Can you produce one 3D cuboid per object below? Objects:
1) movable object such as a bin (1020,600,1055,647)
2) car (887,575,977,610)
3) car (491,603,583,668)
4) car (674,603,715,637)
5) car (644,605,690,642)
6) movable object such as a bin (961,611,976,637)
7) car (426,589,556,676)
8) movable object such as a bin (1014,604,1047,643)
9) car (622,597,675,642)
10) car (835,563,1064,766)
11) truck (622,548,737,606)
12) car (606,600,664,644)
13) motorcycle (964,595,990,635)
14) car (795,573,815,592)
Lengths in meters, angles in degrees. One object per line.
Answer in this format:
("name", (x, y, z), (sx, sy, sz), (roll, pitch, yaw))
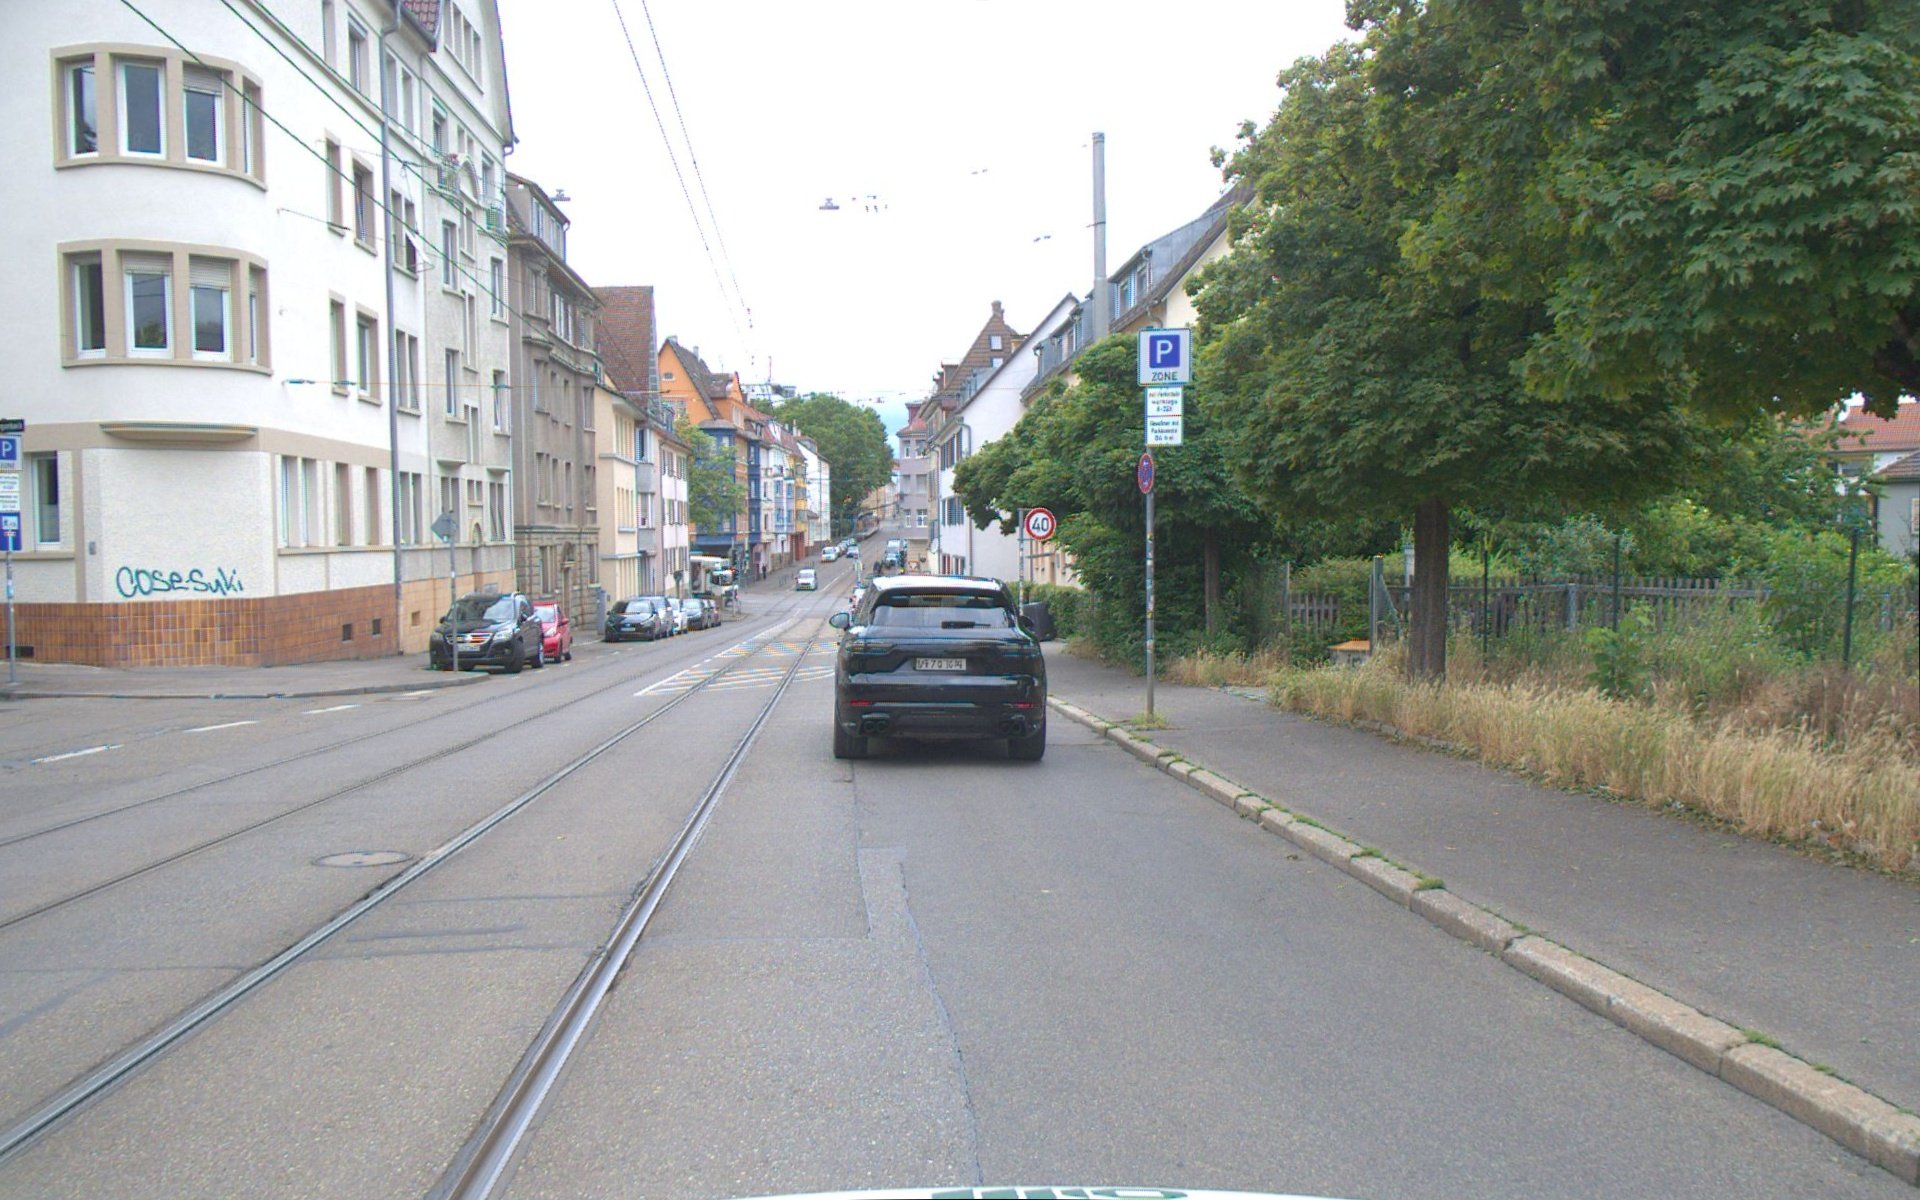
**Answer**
("movable object such as a bin", (2.088, 0.633, 44.620), (0.777, 1.239, 0.788), (-1, -1, -8))
("car", (-2.027, -0.524, 119.491), (6.155, 2.330, 2.200), (-1, 0, 25))
("car", (-10.457, 0.868, 41.070), (1.589, 1.489, 3.741), (-2, -1, -5))
("car", (-12.601, 0.955, 78.666), (1.589, 1.499, 4.550), (-2, -1, -5))
("car", (-12.475, 1.004, 70.611), (1.589, 1.489, 3.680), (-2, -1, -5))
("movable object such as a bin", (0.368, 1.000, 69.958), (0.577, 1.099, 0.691), (-1, -1, -2))
("car", (-9.916, 0.692, 35.258), (1.831, 1.674, 4.397), (-2, -1, -5))
("movable object such as a bin", (1.932, 0.640, 45.420), (0.777, 1.030, 0.788), (-1, 0, -8))
("car", (-12.098, 0.770, 64.480), (1.589, 1.632, 4.346), (-2, -1, -5))
("car", (-0.231, 0.566, 16.241), (1.954, 1.705, 3.996), (-1, 0, -4))
("truck", (-21.606, -1.733, 127.457), (8.382, 4.255, 2.261), (-1, -3, 7))
("car", (-11.684, 0.812, 59.672), (1.589, 1.489, 4.028), (-2, -1, -5))
("motorcycle", (0.637, 0.570, 63.482), (0.822, 1.482, 2.551), (-1, 0, -3))
("car", (-14.695, -1.651, 157.373), (1.716, 1.790, 4.251), (-1, 0, -3))
